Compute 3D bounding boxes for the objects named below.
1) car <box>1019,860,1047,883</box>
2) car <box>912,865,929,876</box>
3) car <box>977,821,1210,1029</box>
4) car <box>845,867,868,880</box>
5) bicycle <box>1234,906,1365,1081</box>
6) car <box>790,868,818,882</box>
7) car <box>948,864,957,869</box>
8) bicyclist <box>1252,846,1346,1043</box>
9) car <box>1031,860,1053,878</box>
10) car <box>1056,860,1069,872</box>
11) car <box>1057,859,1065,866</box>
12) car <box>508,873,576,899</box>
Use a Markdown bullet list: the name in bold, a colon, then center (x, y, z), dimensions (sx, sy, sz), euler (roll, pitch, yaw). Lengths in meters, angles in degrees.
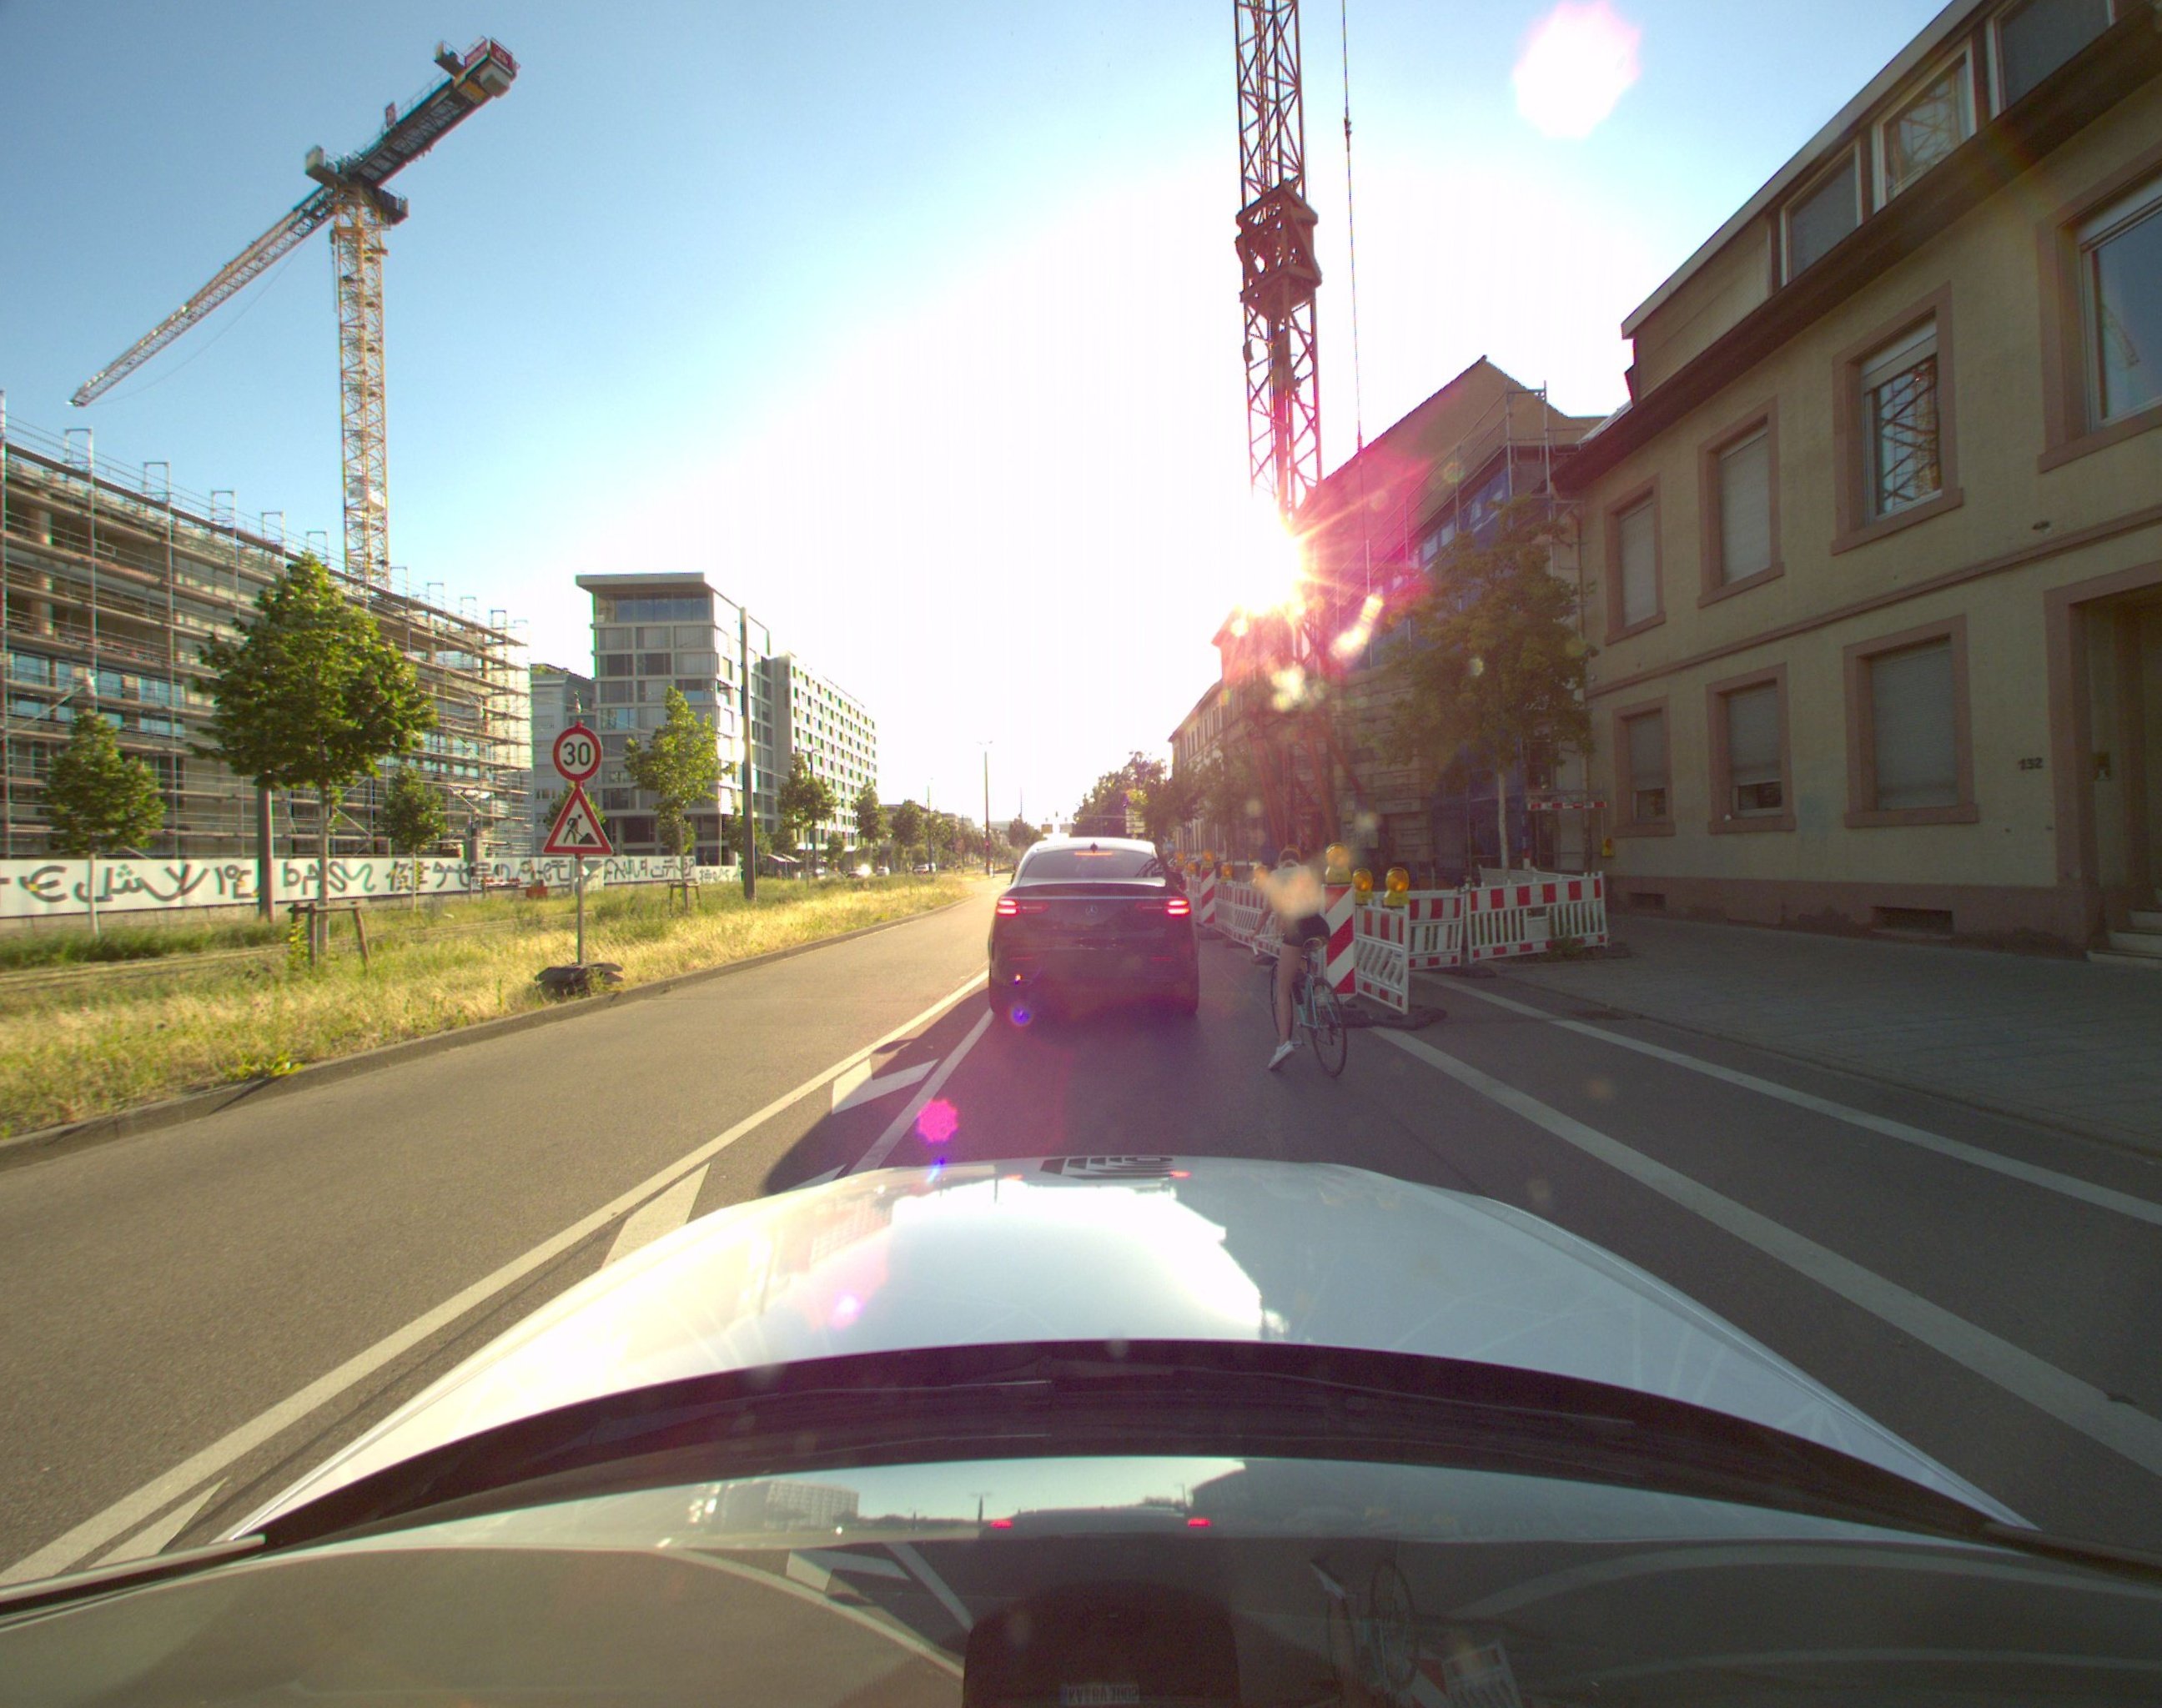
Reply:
- **car**: center (-3.186, 1.142, 54.746), dimensions (1.703, 1.442, 3.581), euler (0, -1, 0)
- **car**: center (-22.789, 2.347, 115.447), dimensions (1.703, 1.442, 3.581), euler (0, -1, 0)
- **car**: center (0.166, 0.622, 8.992), dimensions (1.986, 1.772, 4.001), euler (0, -1, 2)
- **car**: center (-26.083, 2.208, 94.585), dimensions (1.703, 1.442, 3.581), euler (0, -1, 0)
- **bicycle**: center (1.601, 0.975, 6.234), dimensions (0.511, 1.052, 1.724), euler (0, -1, -1)
- **car**: center (-28.792, 2.151, 84.646), dimensions (1.703, 1.442, 3.581), euler (0, -1, 0)
- **car**: center (-32.296, 3.137, 205.094), dimensions (1.703, 1.442, 3.581), euler (0, -1, 0)
- **bicyclist**: center (1.616, 0.645, 6.105), dimensions (0.521, 1.395, 0.614), euler (0, -1, -1)
- **car**: center (-3.258, 1.242, 69.342), dimensions (1.703, 1.442, 3.581), euler (0, -1, 0)
- **car**: center (-2.407, 1.551, 107.089), dimensions (1.703, 1.442, 3.581), euler (0, -1, 0)
- **car**: center (-4.454, 1.893, 184.116), dimensions (1.703, 1.442, 3.581), euler (0, -1, 0)
- **car**: center (-32.558, 1.901, 49.285), dimensions (1.703, 1.442, 3.581), euler (0, -1, 0)
